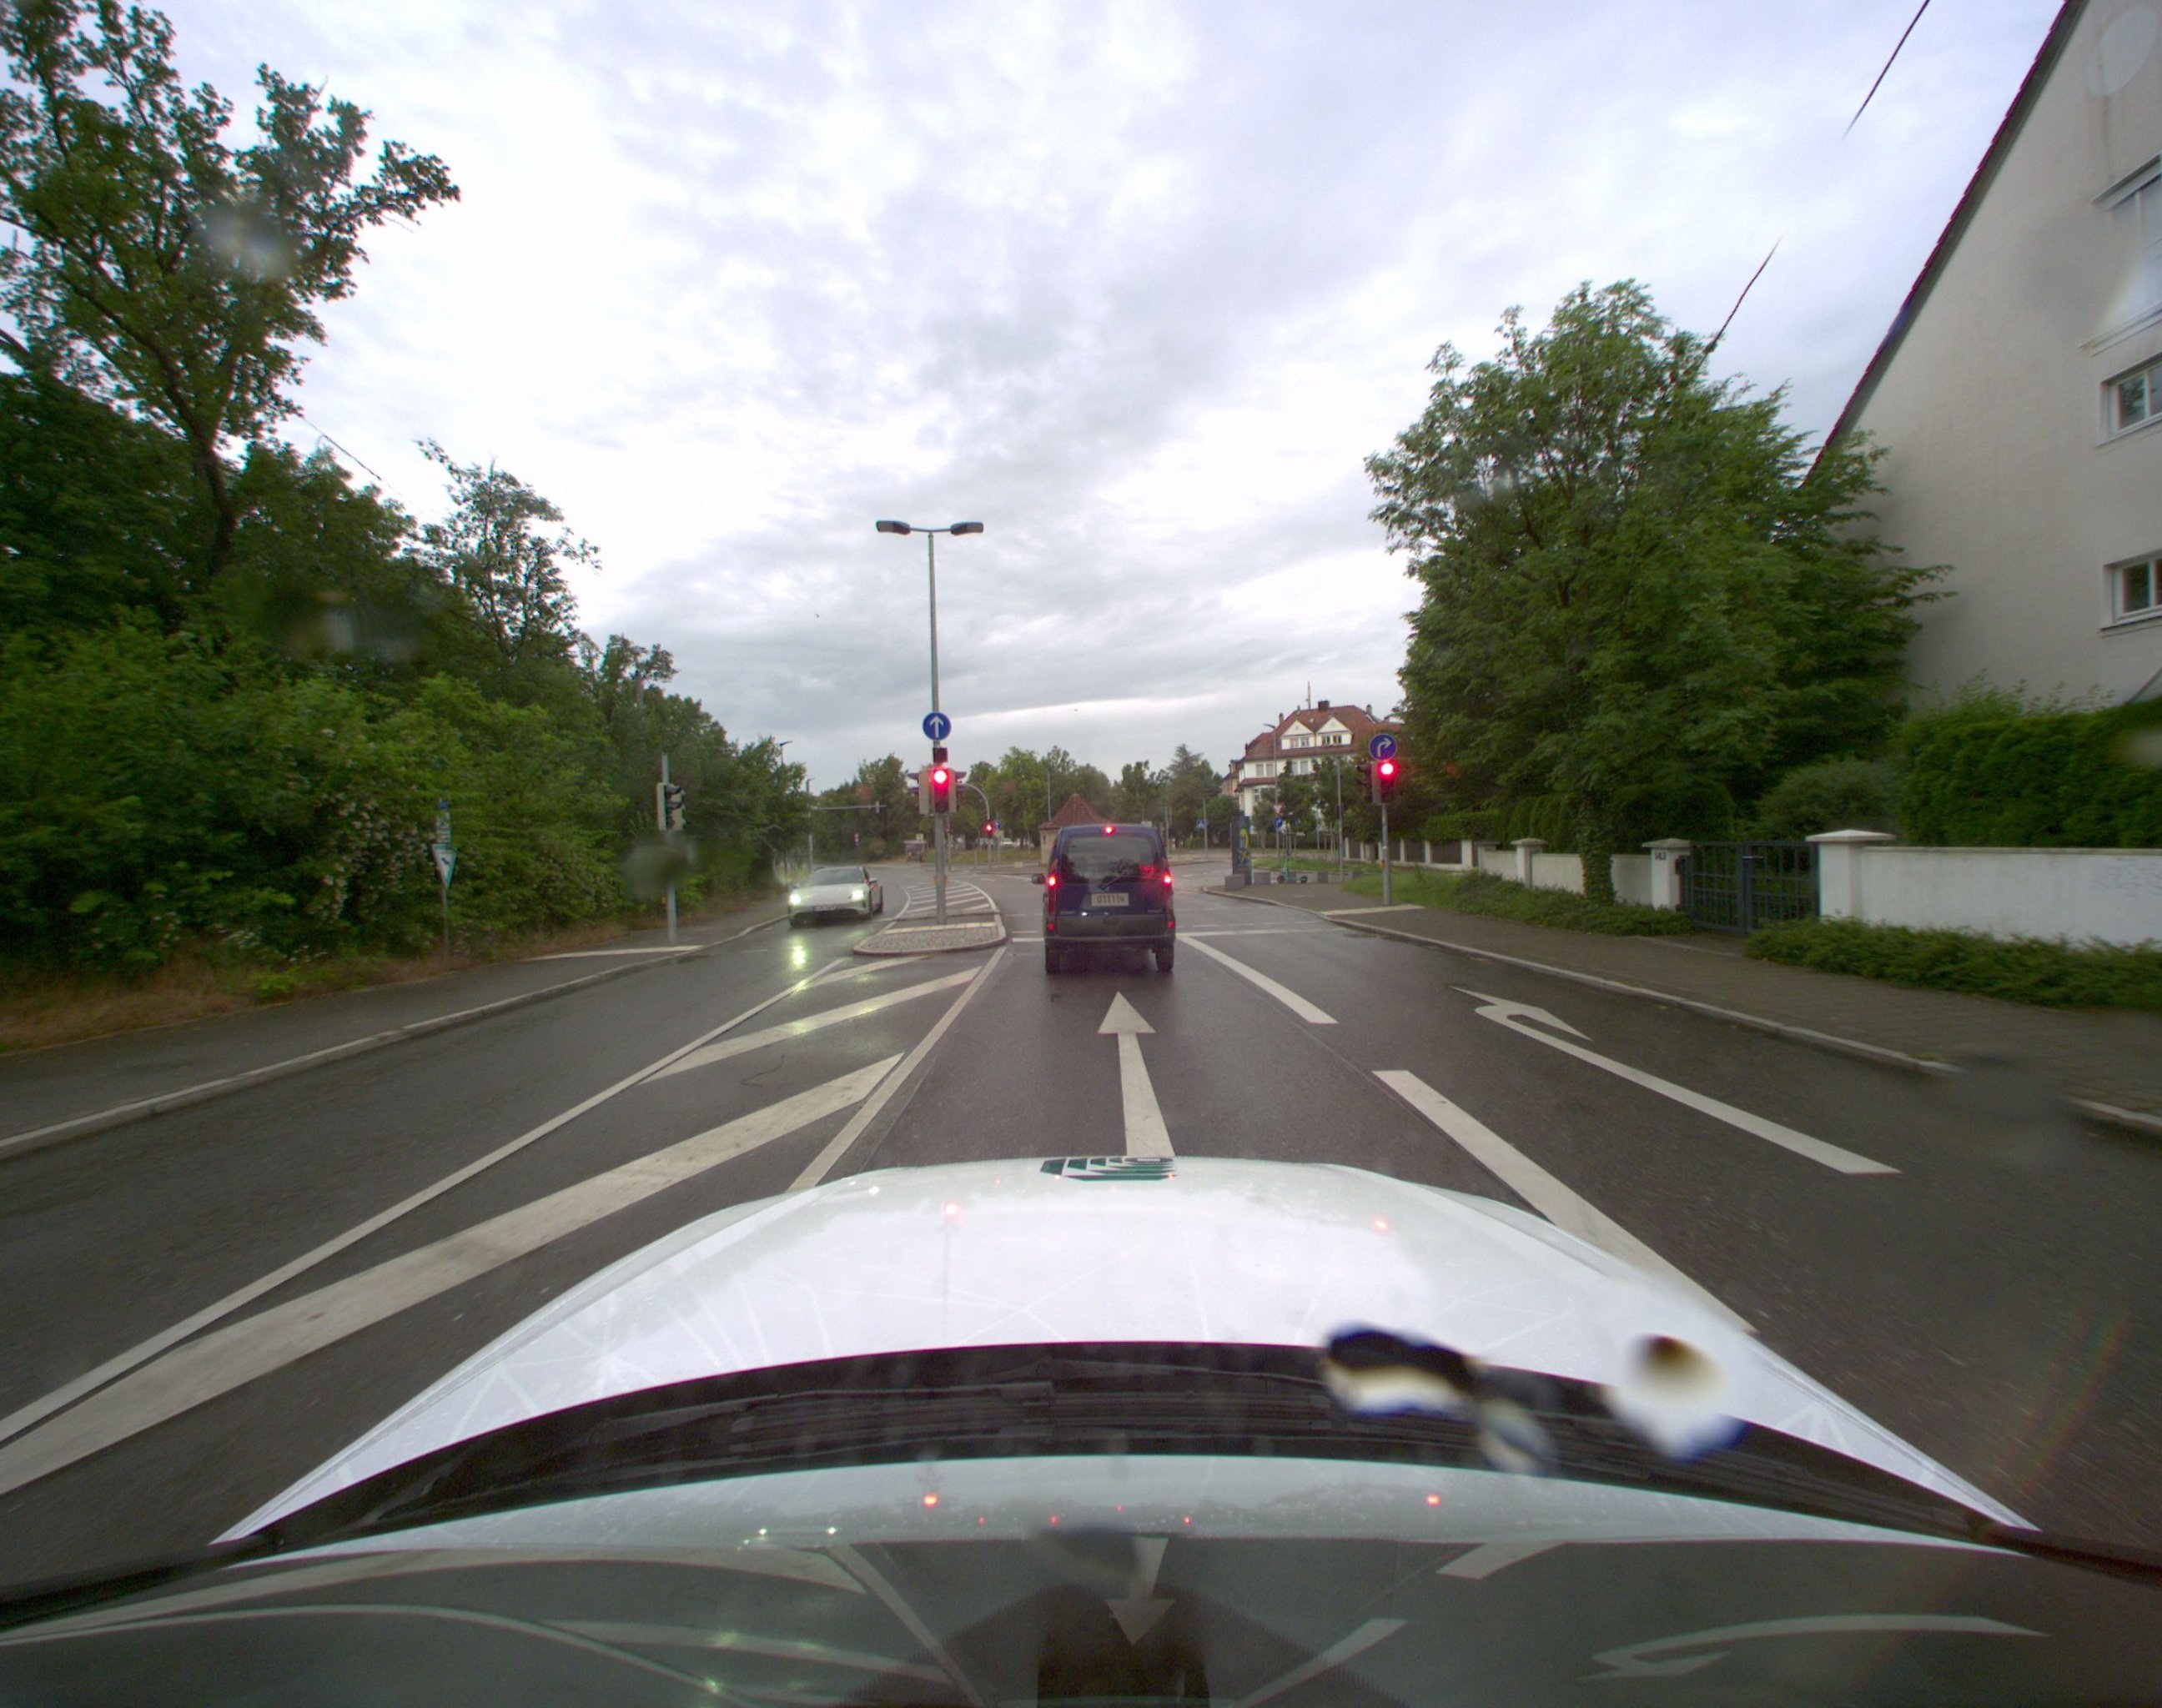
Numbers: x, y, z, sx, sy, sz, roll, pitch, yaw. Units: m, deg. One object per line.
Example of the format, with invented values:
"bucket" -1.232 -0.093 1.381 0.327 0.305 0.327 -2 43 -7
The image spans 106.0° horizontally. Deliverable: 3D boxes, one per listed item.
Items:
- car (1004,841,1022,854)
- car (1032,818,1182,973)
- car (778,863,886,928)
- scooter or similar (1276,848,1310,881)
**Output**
"car" -9.437 -0.882 112.891 1.986 1.812 4.001 -1 -1 1
"car" 0.295 0.468 11.550 1.726 1.786 3.999 -1 0 0
"car" -6.400 1.004 21.416 1.993 1.311 4.346 -5 1 -9
"scooter or similar" 7.969 0.401 30.645 1.145 1.219 0.406 -2 -1 0
